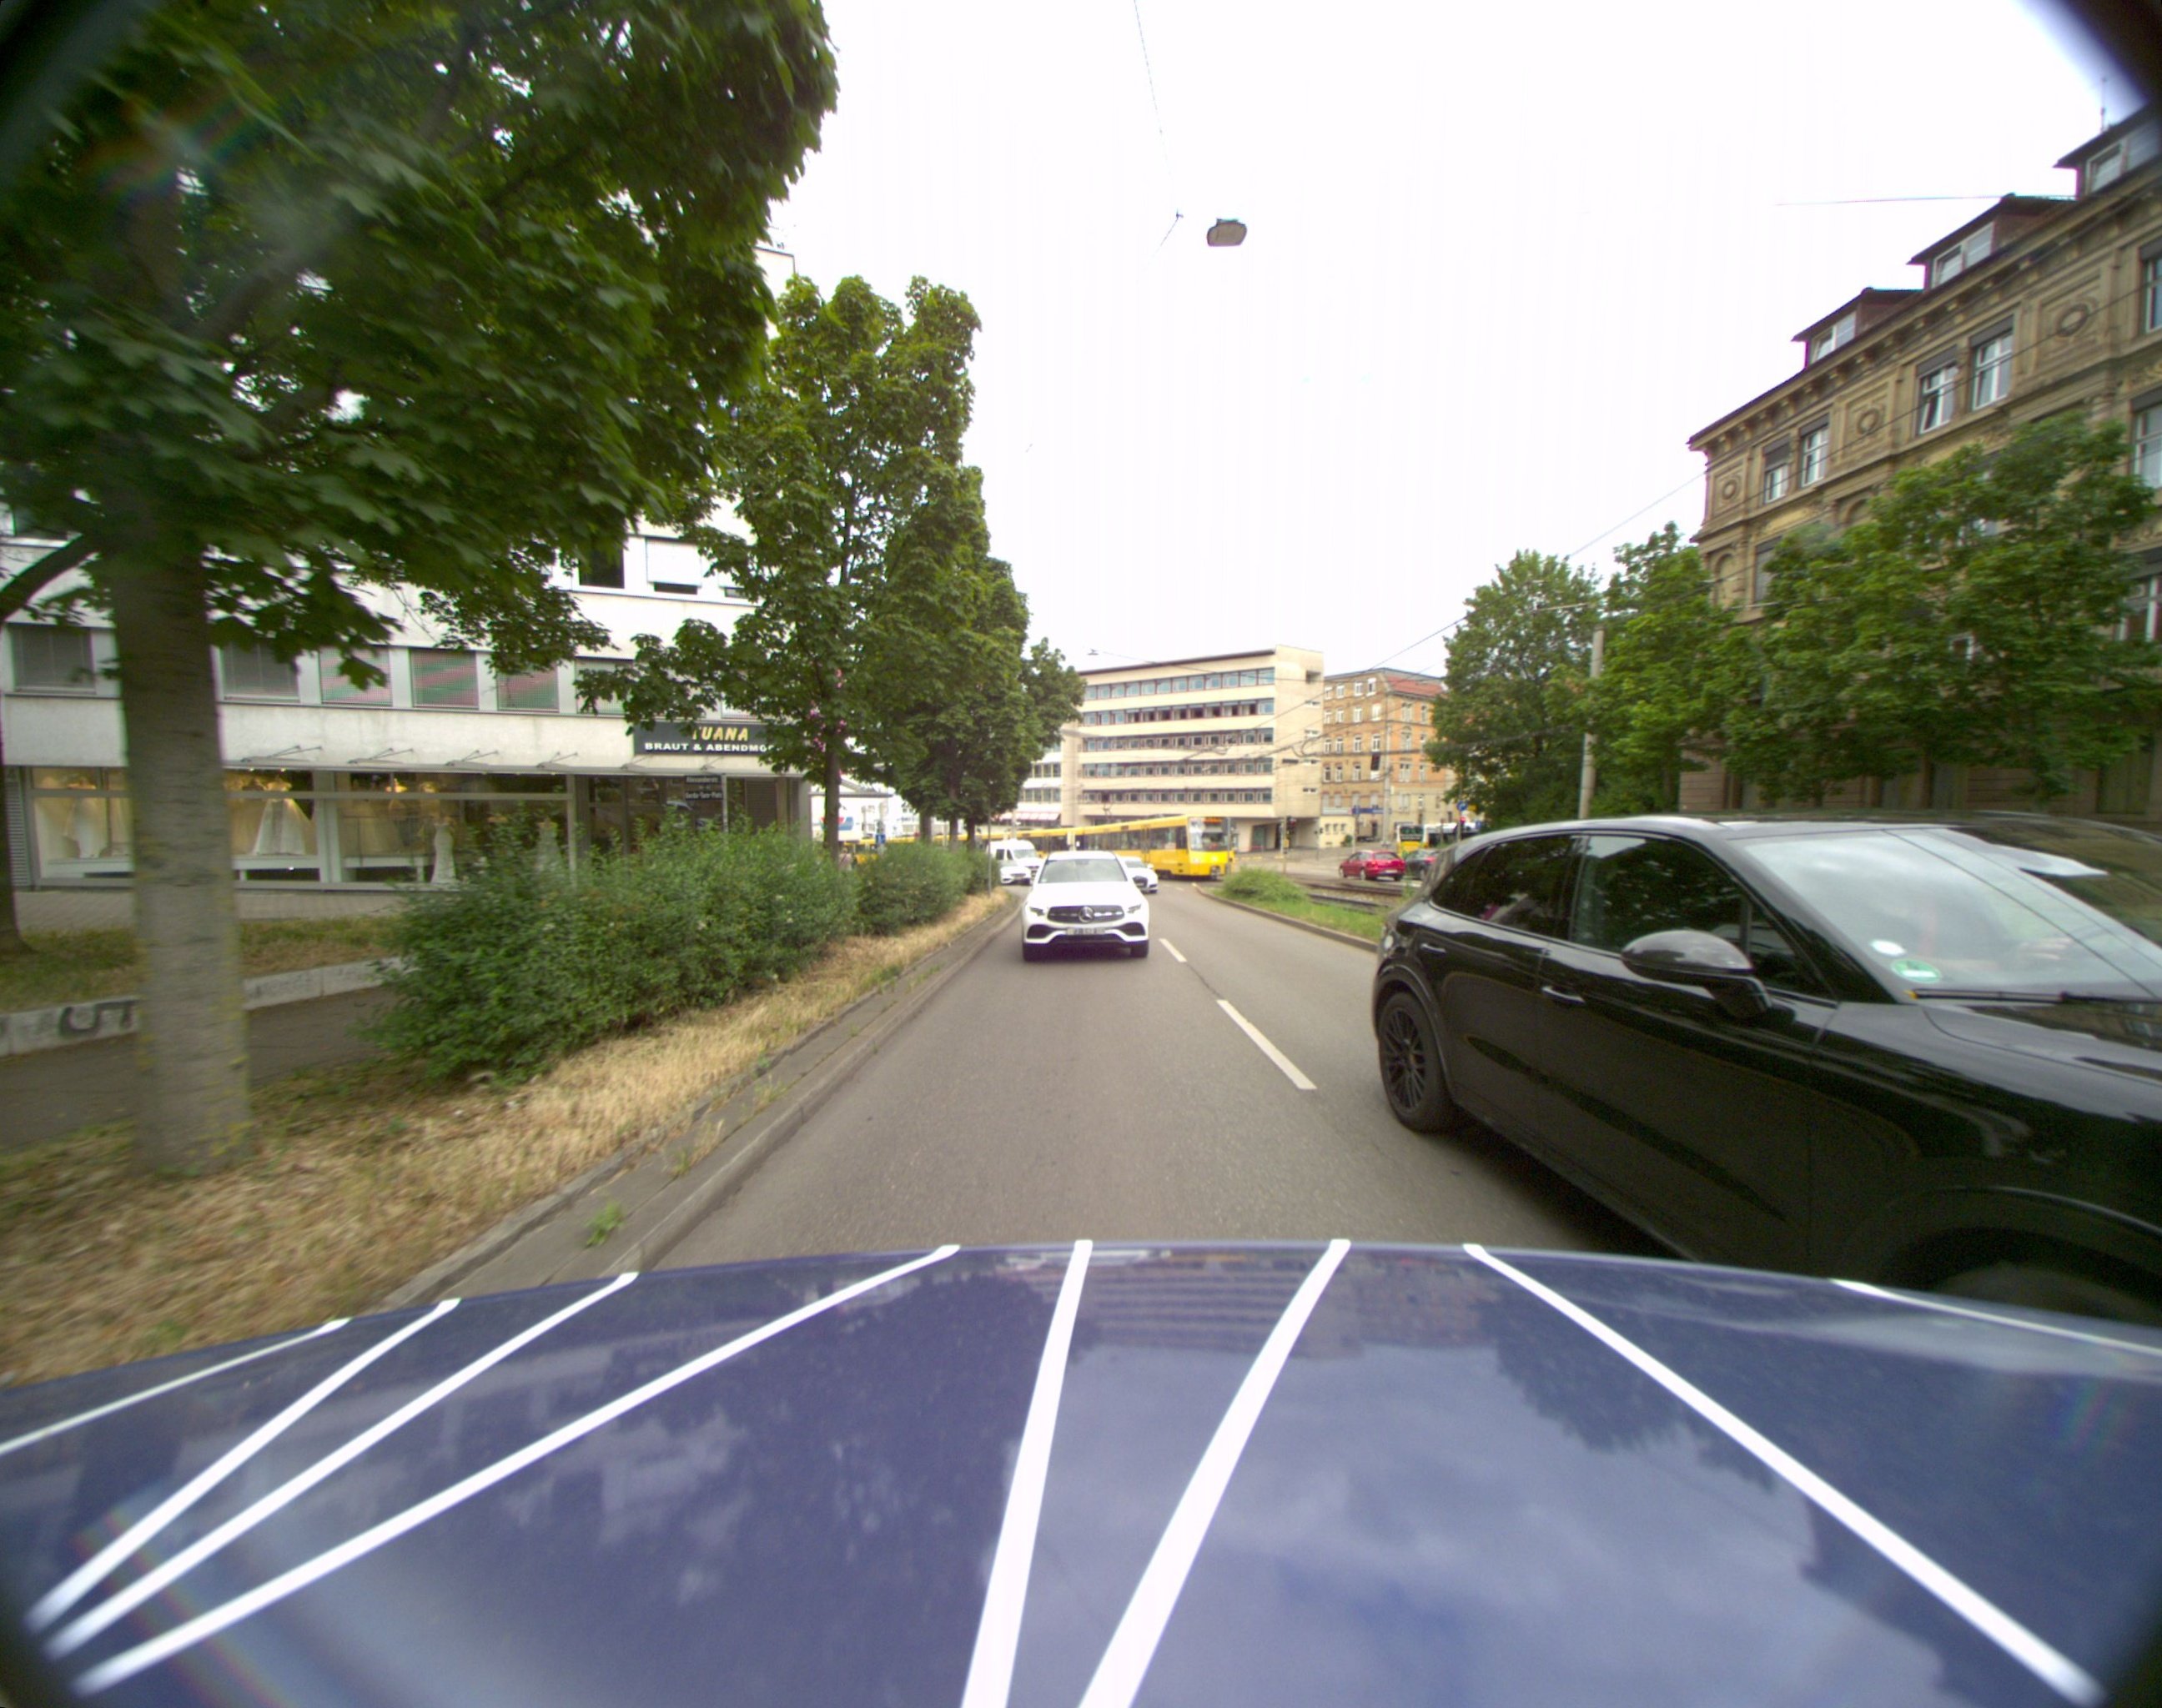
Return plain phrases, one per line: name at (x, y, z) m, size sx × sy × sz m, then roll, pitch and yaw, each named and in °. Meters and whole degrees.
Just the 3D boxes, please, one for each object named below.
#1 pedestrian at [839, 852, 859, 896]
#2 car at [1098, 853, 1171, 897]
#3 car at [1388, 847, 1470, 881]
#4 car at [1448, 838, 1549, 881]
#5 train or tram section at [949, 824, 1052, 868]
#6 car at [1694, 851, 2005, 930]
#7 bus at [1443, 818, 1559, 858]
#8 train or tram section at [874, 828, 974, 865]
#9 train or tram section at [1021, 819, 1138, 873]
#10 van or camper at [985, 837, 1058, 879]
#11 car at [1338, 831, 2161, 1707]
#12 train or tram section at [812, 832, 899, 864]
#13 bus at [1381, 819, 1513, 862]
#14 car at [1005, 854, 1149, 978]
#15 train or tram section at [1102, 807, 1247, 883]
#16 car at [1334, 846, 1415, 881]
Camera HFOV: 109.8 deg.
pedestrian at (-9.550, 0.819, 31.233) m, size 0.676 × 1.784 × 0.607 m, roll -2°, pitch 1°, yaw -20°
car at (2.126, 0.816, 31.360) m, size 1.898 × 1.467 × 4.525 m, roll -3°, pitch 2°, yaw -10°
car at (16.179, 0.411, 35.563) m, size 1.747 × 1.419 × 4.404 m, roll -1°, pitch 1°, yaw -1°
car at (19.034, 0.219, 34.947) m, size 1.998 × 1.839 × 4.993 m, roll -1°, pitch 1°, yaw 2°
train or tram section at (-7.856, -0.759, 71.087) m, size 2.895 × 3.644 × 14.191 m, roll -4°, pitch 3°, yaw -35°
car at (16.346, 0.711, 16.662) m, size 1.824 × 1.442 × 4.946 m, roll -1°, pitch -1°, yaw 0°
bus at (35.062, -1.378, 63.232) m, size 11.380 × 3.026 × 3.316 m, roll -2°, pitch 1°, yaw -32°
train or tram section at (-17.157, -0.819, 82.024) m, size 14.187 × 3.540 × 2.937 m, roll 1°, pitch 5°, yaw 44°
train or tram section at (-0.548, -0.657, 59.045) m, size 2.894 × 3.643 × 14.197 m, roll -3°, pitch 2°, yaw -27°
van or camper at (-4.122, 0.192, 51.144) m, size 2.213 × 2.544 × 6.357 m, roll -5°, pitch 3°, yaw -31°
car at (2.680, 0.780, 2.450) m, size 2.033 × 1.675 × 4.779 m, roll -1°, pitch 2°, yaw -1°
train or tram section at (-27.417, -0.664, 91.759) m, size 14.189 × 3.423 × 2.895 m, roll -1°, pitch 4°, yaw 43°
bus at (28.728, -1.130, 59.357) m, size 11.566 × 3.012 × 3.382 m, roll -2°, pitch 1°, yaw -31°
car at (0.110, 0.862, 12.887) m, size 1.934 × 1.622 × 4.774 m, roll -2°, pitch 0°, yaw 4°
train or tram section at (4.905, -0.581, 44.892) m, size 2.892 × 3.643 × 14.452 m, roll -3°, pitch 2°, yaw -16°
car at (13.708, 0.421, 35.782) m, size 1.999 × 1.510 × 4.405 m, roll -2°, pitch 0°, yaw -2°
